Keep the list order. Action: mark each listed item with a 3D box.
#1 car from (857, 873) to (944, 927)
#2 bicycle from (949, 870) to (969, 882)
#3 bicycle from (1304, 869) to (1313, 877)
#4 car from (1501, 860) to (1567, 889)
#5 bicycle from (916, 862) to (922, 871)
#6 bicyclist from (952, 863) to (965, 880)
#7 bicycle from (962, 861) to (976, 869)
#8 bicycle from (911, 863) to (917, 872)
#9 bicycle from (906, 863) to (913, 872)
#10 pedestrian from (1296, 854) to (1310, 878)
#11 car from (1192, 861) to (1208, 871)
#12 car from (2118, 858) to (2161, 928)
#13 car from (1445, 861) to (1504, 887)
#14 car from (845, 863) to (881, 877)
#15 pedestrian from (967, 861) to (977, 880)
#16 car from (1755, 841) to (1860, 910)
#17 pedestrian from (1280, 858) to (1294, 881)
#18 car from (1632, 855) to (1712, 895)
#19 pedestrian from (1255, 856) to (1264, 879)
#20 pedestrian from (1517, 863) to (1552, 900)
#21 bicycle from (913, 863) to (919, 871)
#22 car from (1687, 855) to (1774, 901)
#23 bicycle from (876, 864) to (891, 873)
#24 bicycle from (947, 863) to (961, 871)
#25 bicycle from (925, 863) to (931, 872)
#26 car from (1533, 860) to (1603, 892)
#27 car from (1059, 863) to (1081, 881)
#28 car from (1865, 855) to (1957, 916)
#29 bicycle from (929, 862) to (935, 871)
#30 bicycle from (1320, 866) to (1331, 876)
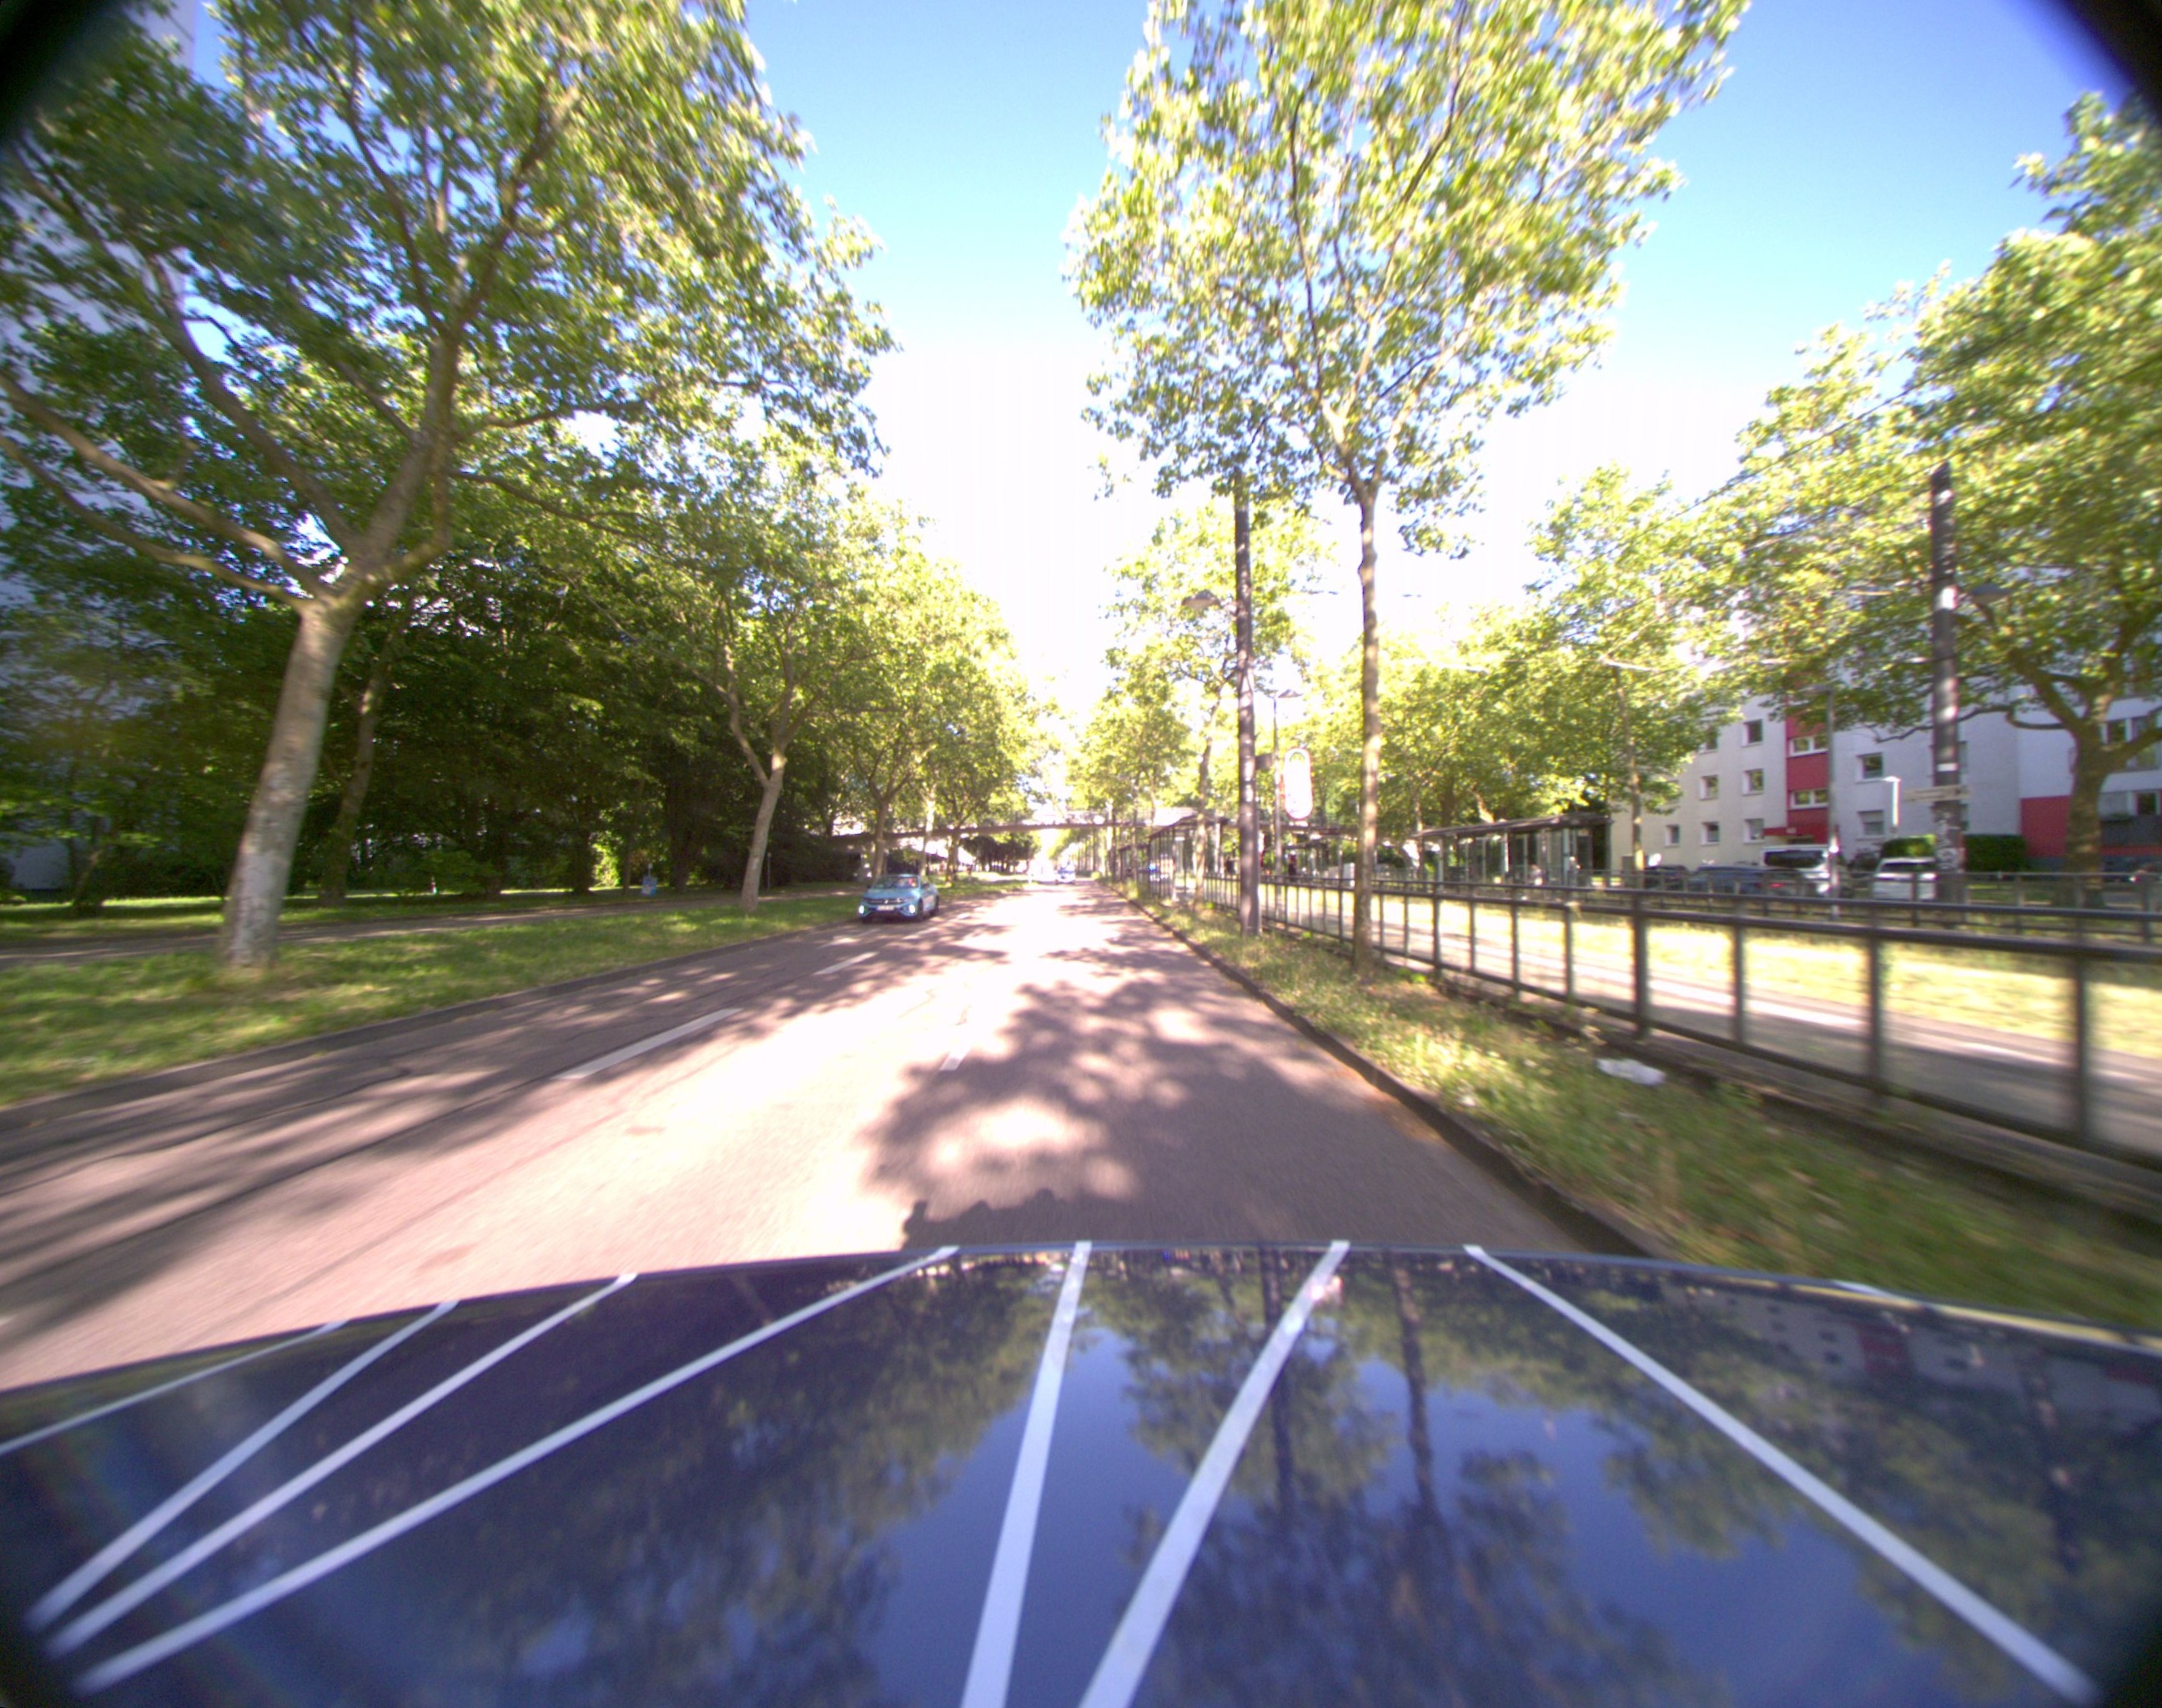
[{"bbox_3d":[-5.688,1.407,24.405,1.780,1.474,4.100,-2,-1,0],"label":"car"},{"bbox_3d":[-12.077,2.178,75.039,1.831,1.140,0.817,1,-1,36],"label":"bicycle"},{"bbox_3d":[22.329,1.832,74.532,0.435,0.774,1.174,-2,-1,-1],"label":"bicycle"},{"bbox_3d":[24.692,1.104,41.358,4.208,1.419,1.696,-2,-1,-39],"label":"car"},{"bbox_3d":[-24.719,1.897,115.968,0.577,1.246,1.806,-2,0,-2],"label":"bicycle"},{"bbox_3d":[-12.100,1.752,75.070,0.954,1.622,0.817,1,-1,36],"label":"bicyclist"},{"bbox_3d":[-16.902,1.642,115.017,2.074,1.151,0.561,1,0,-11],"label":"bicycle"},{"bbox_3d":[-24.034,1.888,109.396,0.577,1.246,1.806,-2,0,-2],"label":"bicycle"},{"bbox_3d":[-23.727,1.871,105.408,0.577,1.246,1.806,-2,0,-2],"label":"bicycle"},{"bbox_3d":[14.900,0.781,51.082,0.731,1.625,0.715,0,0,-3],"label":"pedestrian"},{"bbox_3d":[20.657,2.079,132.388,1.903,1.480,4.626,-4,0,-2],"label":"car"},{"bbox_3d":[24.668,0.841,16.306,1.895,1.495,4.509,-3,-1,41],"label":"car"},{"bbox_3d":[24.718,1.252,47.676,4.208,1.419,1.696,-2,-1,-39],"label":"car"},{"bbox_3d":[-25.559,1.936,89.232,3.739,1.486,1.710,-2,-2,-4],"label":"car"},{"bbox_3d":[-10.310,1.600,71.850,0.658,1.766,0.741,-2,-2,37],"label":"pedestrian"},{"bbox_3d":[24.432,0.685,25.502,4.508,2.050,1.895,-2,-1,-39],"label":"car"},{"bbox_3d":[14.018,1.059,51.722,0.644,1.505,0.683,1,0,-13],"label":"pedestrian"},{"bbox_3d":[25.296,0.870,32.480,4.509,1.488,1.895,-2,-1,-42],"label":"car"},{"bbox_3d":[14.266,1.086,60.705,0.504,1.760,0.483,-3,1,-41],"label":"pedestrian"},{"bbox_3d":[14.662,0.881,24.575,0.696,1.120,0.662,2,0,1],"label":"pedestrian"},{"bbox_3d":[-24.192,1.896,111.468,0.577,1.246,1.806,-2,0,-2],"label":"bicycle"},{"bbox_3d":[24.754,0.885,28.890,4.509,1.488,1.895,-2,-1,-42],"label":"car"},{"bbox_3d":[-26.935,1.968,103.572,1.806,1.109,0.710,0,1,-8],"label":"bicycle"},{"bbox_3d":[-19.471,2.031,116.158,2.069,1.151,0.562,0,0,13],"label":"bicycle"},{"bbox_3d":[-22.840,2.014,113.196,0.577,1.246,1.806,-2,0,-2],"label":"bicycle"},{"bbox_3d":[24.742,1.098,38.568,4.208,1.419,1.696,-2,-1,-39],"label":"car"},{"bbox_3d":[-0.984,1.687,72.261,1.898,1.622,4.502,-2,-1,1],"label":"car"},{"bbox_3d":[24.642,0.884,22.668,4.068,1.601,1.685,-1,-1,-44],"label":"car"},{"bbox_3d":[-23.218,1.921,118.098,0.577,1.246,1.806,-2,0,-2],"label":"bicycle"},{"bbox_3d":[23.768,1.659,73.936,0.435,1.003,1.686,-2,-1,-1],"label":"bicycle"}]
